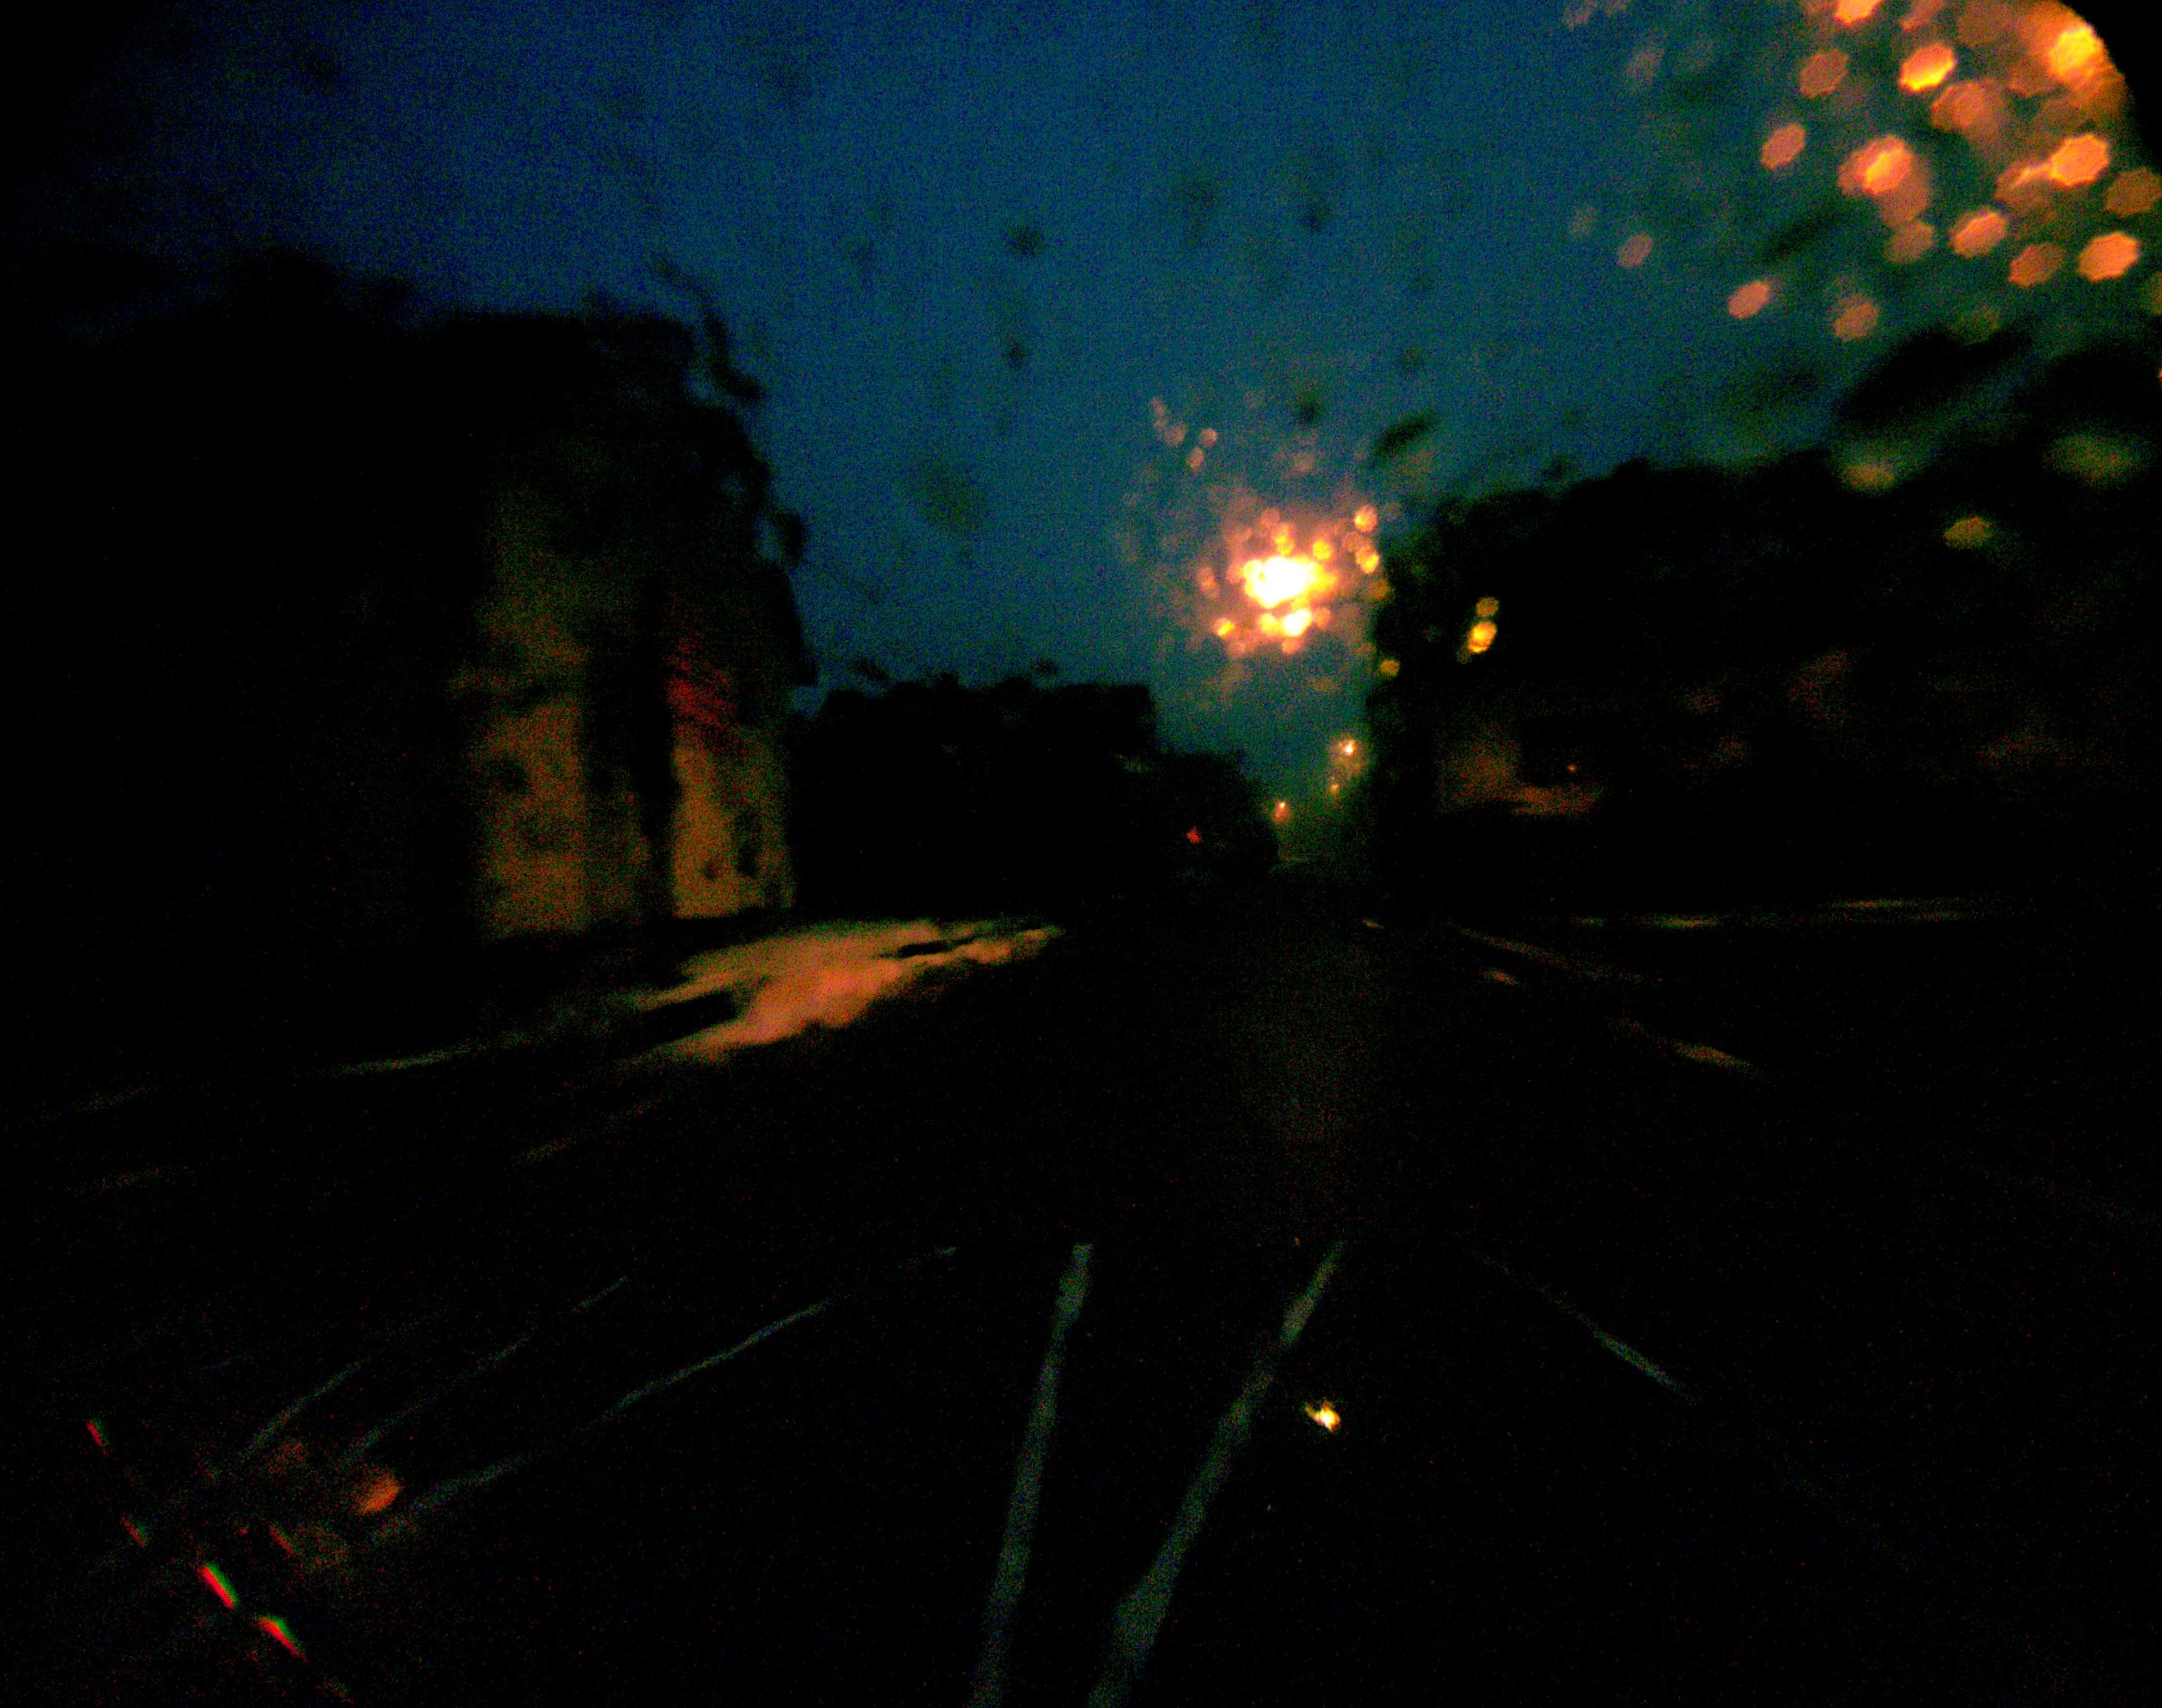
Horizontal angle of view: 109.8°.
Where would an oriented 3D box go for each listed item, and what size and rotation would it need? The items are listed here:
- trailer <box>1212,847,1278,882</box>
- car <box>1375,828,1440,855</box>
[{"bbox_3d":[7.719,0.440,35.450,1.995,1.380,4.738,-3,0,24],"label":"trailer"},{"bbox_3d":[27.584,-1.078,64.354,4.798,1.657,1.892,-7,1,19],"label":"car"}]
